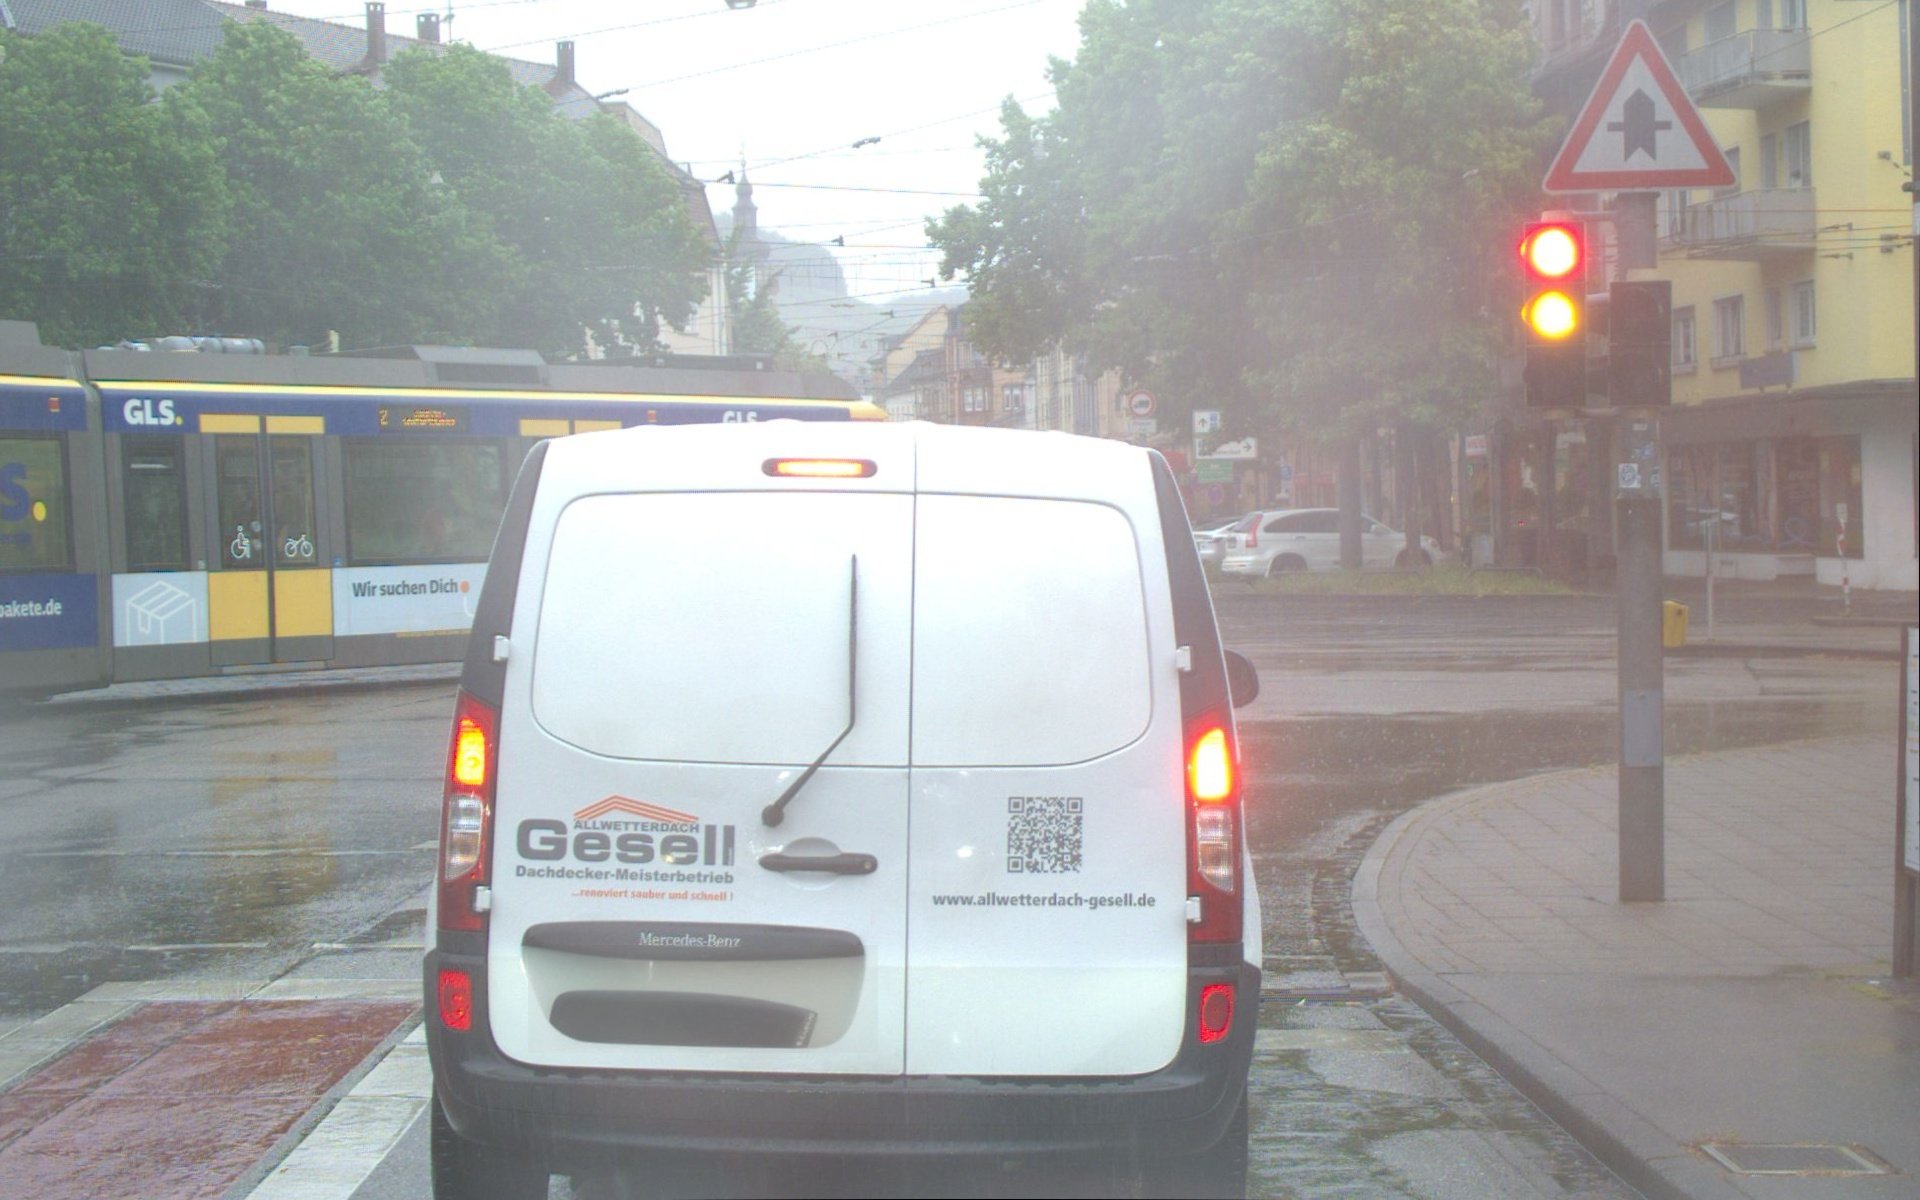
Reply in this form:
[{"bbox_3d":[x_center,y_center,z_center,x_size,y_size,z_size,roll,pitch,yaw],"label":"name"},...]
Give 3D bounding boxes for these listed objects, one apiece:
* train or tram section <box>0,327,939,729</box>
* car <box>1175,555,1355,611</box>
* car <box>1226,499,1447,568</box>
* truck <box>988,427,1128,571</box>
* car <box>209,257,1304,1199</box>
[{"bbox_3d":[-6.107,-0.664,35.163,3.548,3.401,15.474,2,1,34],"label":"train or tram section"},{"bbox_3d":[6.264,-0.356,70.715,3.441,1.126,1.472,0,1,-8],"label":"car"},{"bbox_3d":[7.536,-1.345,68.944,4.165,1.334,1.521,-1,2,-7],"label":"car"},{"bbox_3d":[3.523,-3.696,129.074,3.469,5.070,15.310,0,1,-5],"label":"truck"},{"bbox_3d":[-0.419,0.320,9.116,2.100,2.005,4.963,0,1,-1],"label":"car"}]
